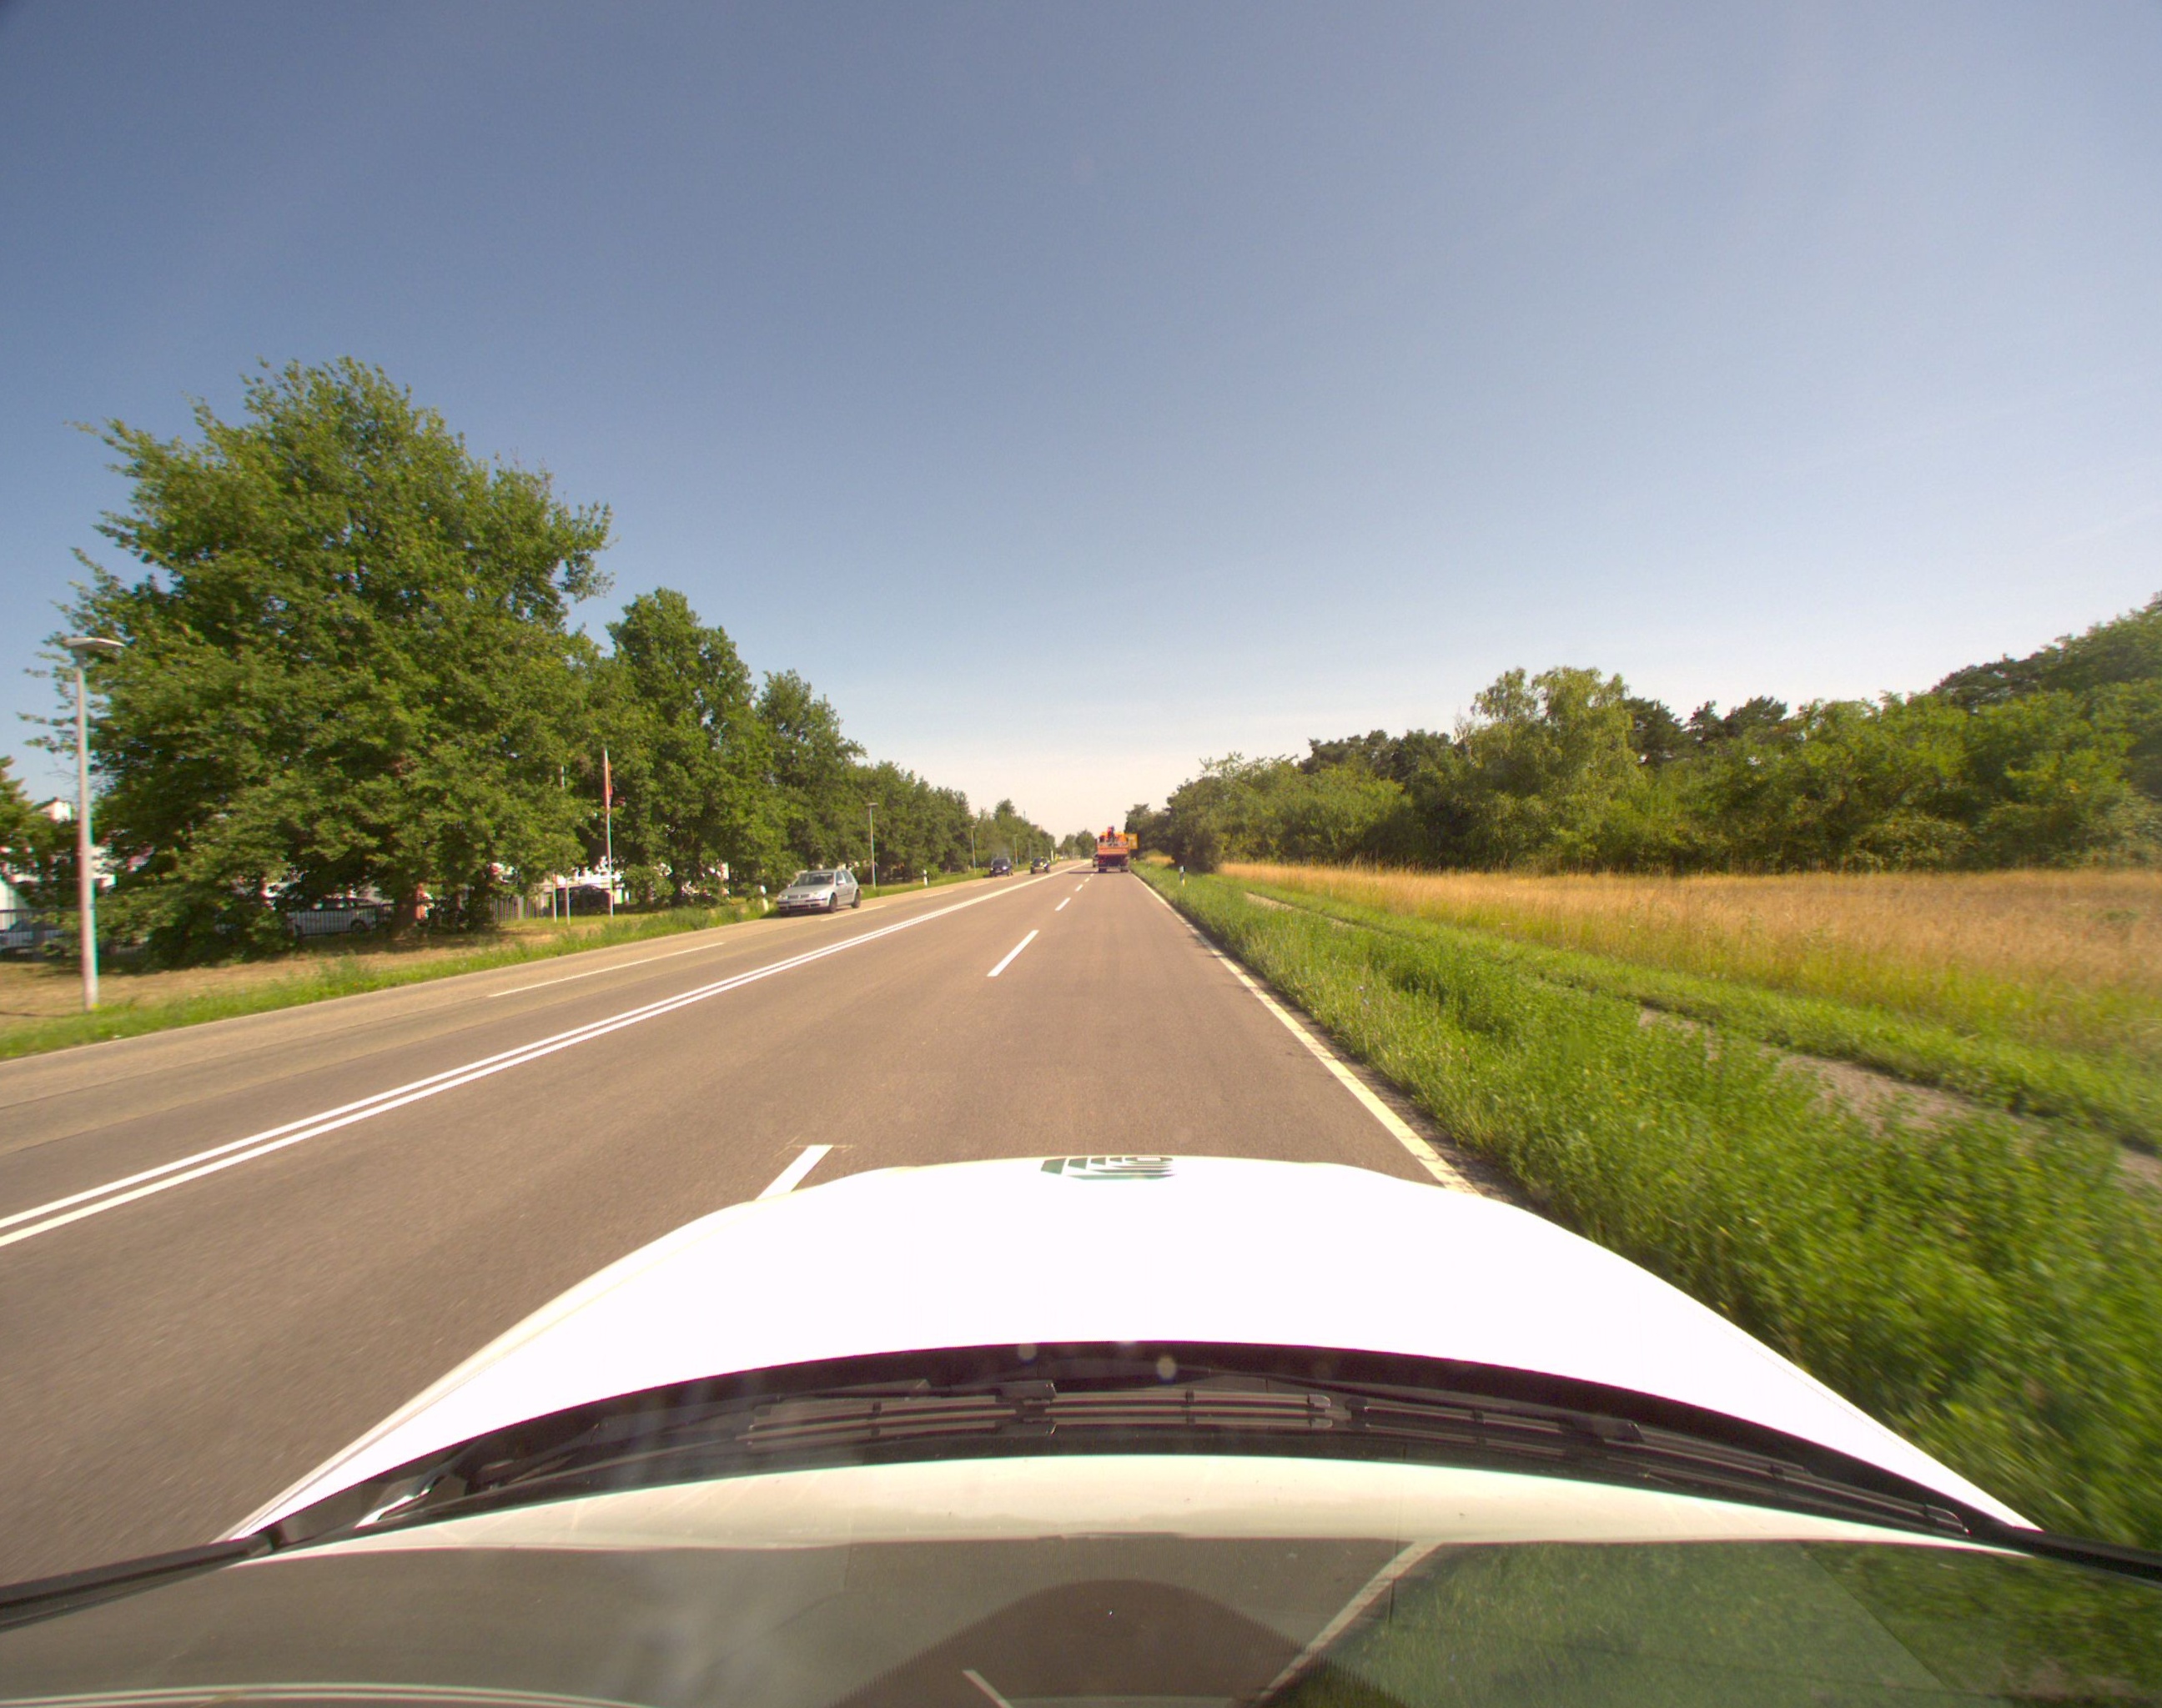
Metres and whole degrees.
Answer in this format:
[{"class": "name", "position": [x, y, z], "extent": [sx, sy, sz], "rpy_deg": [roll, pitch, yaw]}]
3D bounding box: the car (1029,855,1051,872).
[{"class": "car", "position": [-3.673, 0.840, 73.719], "extent": [1.511, 1.450, 3.777], "rpy_deg": [-5, 0, 2]}]

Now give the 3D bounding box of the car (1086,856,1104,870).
[{"class": "car", "position": [1.637, 1.040, 94.834], "extent": [1.987, 1.583, 4.000], "rpy_deg": [-2, 0, 0]}]

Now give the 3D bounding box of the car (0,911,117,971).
[{"class": "car", "position": [-31.198, 2.578, 24.813], "extent": [1.750, 1.500, 3.952], "rpy_deg": [-3, 0, -41]}]

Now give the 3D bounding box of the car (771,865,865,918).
[{"class": "car", "position": [-8.586, 1.174, 26.980], "extent": [1.592, 1.442, 4.002], "rpy_deg": [-5, 0, 2]}]

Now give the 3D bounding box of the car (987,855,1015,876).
[{"class": "car", "position": [-7.065, 0.987, 72.188], "extent": [1.819, 1.671, 4.390], "rpy_deg": [-5, 0, 1]}]

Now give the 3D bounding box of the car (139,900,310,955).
[{"class": "car", "position": [-29.303, 2.495, 27.943], "extent": [3.972, 1.500, 1.758], "rpy_deg": [-3, 0, 1]}]

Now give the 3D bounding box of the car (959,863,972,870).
[{"class": "car", "position": [-27.495, 2.880, 194.200], "extent": [1.985, 1.437, 4.959], "rpy_deg": [-3, 0, 4]}]

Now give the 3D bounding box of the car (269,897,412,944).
[{"class": "car", "position": [-29.055, 2.586, 32.033], "extent": [3.972, 1.500, 1.758], "rpy_deg": [-3, 0, 1]}]

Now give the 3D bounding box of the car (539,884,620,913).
[{"class": "car", "position": [-29.486, 2.558, 48.057], "extent": [1.781, 1.349, 4.662], "rpy_deg": [-4, 0, 0]}]

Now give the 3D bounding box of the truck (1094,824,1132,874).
[{"class": "truck", "position": [2.572, -0.391, 68.049], "extent": [2.863, 3.880, 7.398], "rpy_deg": [-1, 0, 0]}]
